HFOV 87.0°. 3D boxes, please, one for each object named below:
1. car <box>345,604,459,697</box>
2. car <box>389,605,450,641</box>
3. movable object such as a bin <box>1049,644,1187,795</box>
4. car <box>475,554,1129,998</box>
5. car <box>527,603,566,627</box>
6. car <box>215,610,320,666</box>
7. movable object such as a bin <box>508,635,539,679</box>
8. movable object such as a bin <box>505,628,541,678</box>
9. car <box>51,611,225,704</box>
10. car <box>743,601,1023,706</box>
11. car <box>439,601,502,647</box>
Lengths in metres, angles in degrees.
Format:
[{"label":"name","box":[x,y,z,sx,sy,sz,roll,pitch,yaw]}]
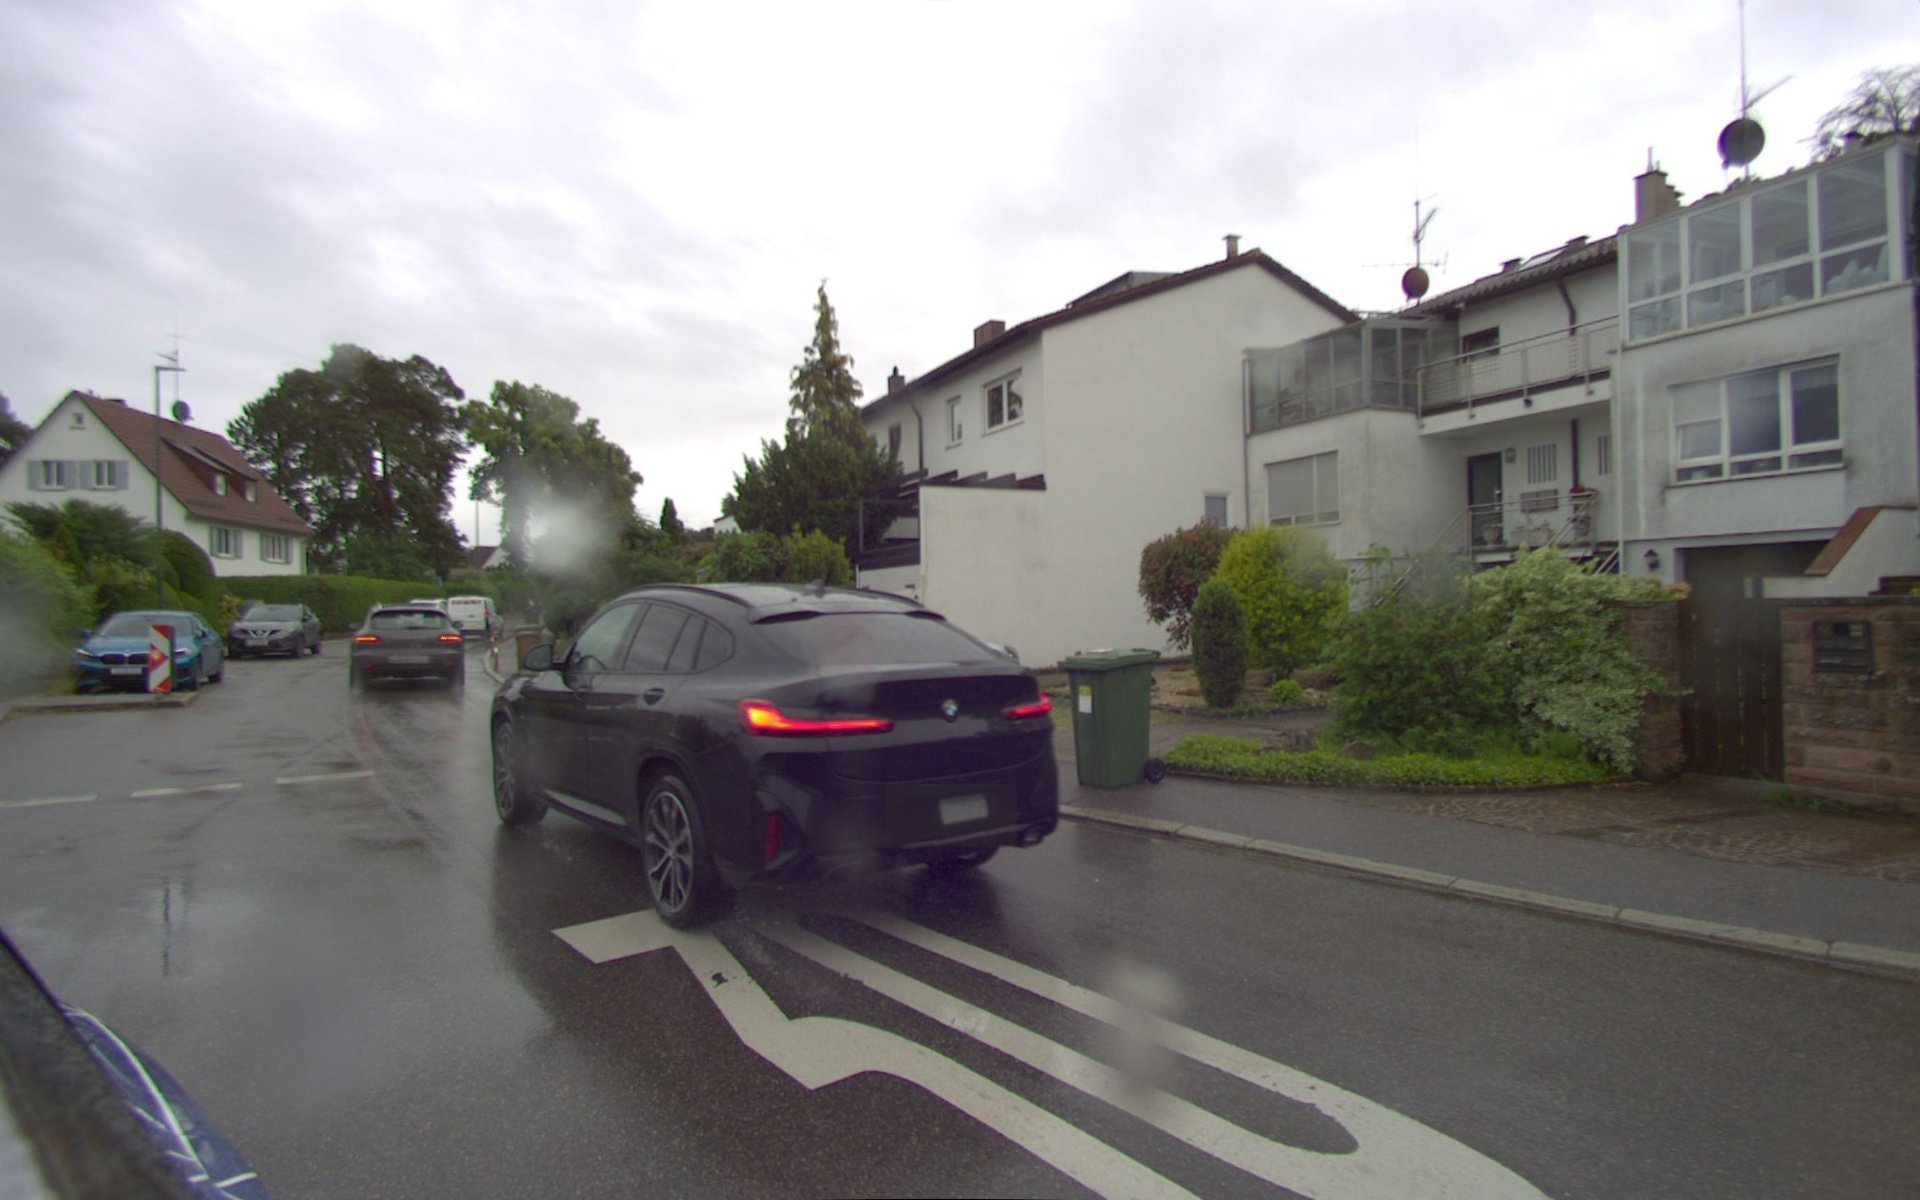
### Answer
[{"label":"car","box":[-10.983,0.911,20.012,1.763,1.606,4.229,-1,0,-28]},{"label":"car","box":[-26.379,1.080,49.556,1.638,1.651,4.227,-1,0,-14]},{"label":"movable object such as a bin","box":[1.258,0.914,8.050,0.834,1.076,0.624,-3,0,-34]},{"label":"car","box":[-1.287,0.672,5.995,1.905,1.617,4.351,0,-1,-39]},{"label":"car","box":[-29.989,1.080,73.468,1.640,1.651,4.223,-1,0,-8]},{"label":"car","box":[-20.870,1.089,30.678,1.874,1.553,4.230,-1,0,-24]},{"label":"movable object such as a bin","box":[-9.627,1.249,22.316,0.571,0.946,0.505,2,-3,-26]},{"label":"movable object such as a bin","box":[-9.825,1.190,22.750,0.682,1.100,0.422,2,-3,-26]},{"label":"car","box":[-15.068,0.959,18.796,1.770,1.480,4.229,-1,0,-29]},{"label":"car","box":[-1.194,0.786,15.621,3.930,1.451,1.774,1,0,-23]},{"label":"car","box":[-20.978,0.983,43.546,1.752,1.879,4.228,0,-1,-16]}]
